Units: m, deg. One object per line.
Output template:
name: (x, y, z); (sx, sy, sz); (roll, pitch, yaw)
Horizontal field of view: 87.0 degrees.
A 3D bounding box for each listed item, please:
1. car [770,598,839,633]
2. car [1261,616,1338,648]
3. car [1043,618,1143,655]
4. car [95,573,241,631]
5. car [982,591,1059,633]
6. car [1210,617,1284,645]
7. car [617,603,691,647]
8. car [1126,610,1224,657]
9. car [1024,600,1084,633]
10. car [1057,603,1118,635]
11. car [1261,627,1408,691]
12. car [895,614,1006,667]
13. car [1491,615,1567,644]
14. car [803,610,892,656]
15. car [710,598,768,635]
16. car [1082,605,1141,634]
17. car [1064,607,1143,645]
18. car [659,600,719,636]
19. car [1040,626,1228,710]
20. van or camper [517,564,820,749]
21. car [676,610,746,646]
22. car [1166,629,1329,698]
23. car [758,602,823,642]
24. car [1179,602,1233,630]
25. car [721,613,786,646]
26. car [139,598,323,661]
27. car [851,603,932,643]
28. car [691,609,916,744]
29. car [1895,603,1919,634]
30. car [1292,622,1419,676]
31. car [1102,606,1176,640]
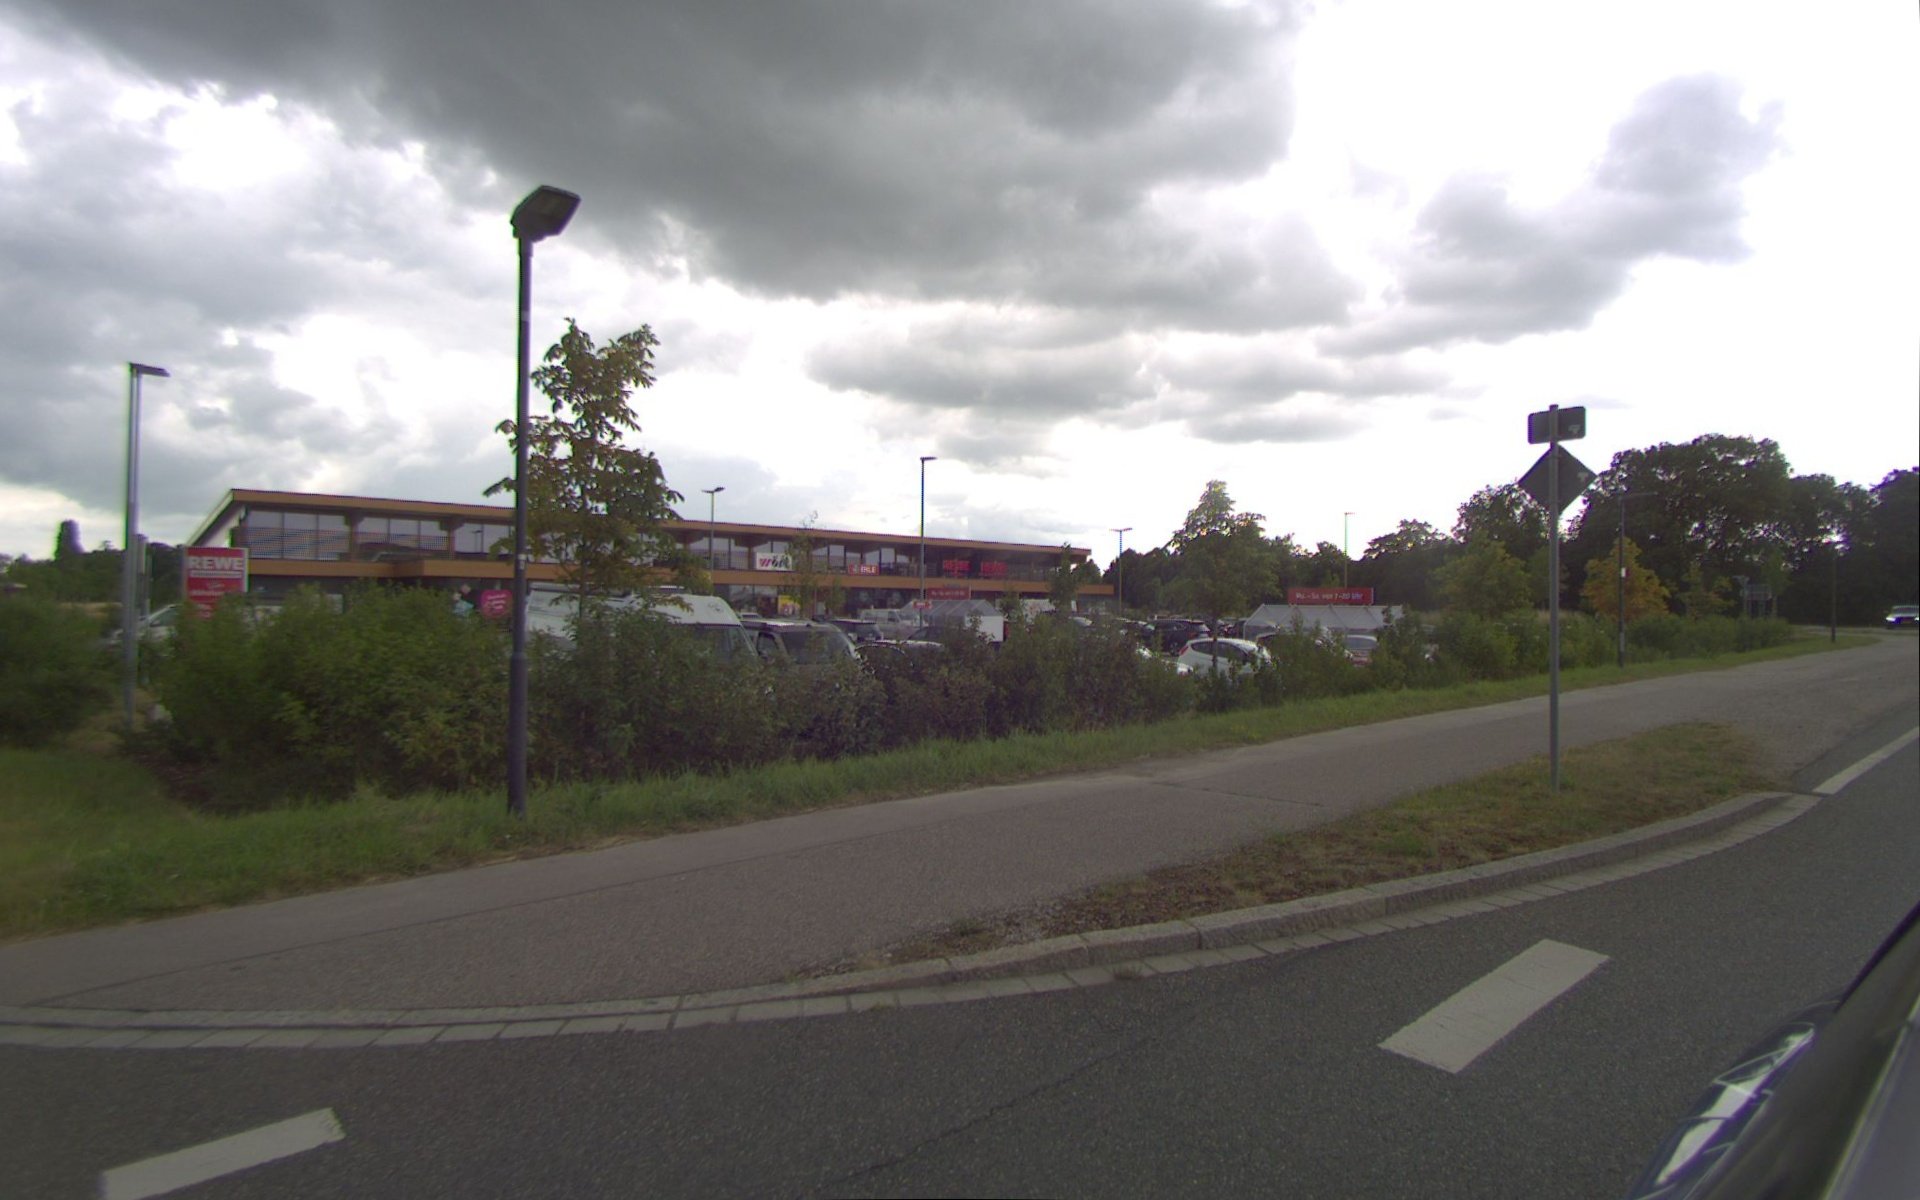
car: (-10.088, 0.980, 65.475); (1.965, 2.039, 5.138); (1, 1, -41)
car: (18.457, 1.703, 55.077); (1.723, 1.552, 3.555); (1, 1, -41)
car: (5.715, 1.559, 43.794); (1.965, 1.460, 3.993); (1, -1, -41)
car: (-29.639, 0.069, 37.968); (4.210, 2.039, 1.998); (1, 1, -40)
car: (3.187, 0.590, 53.598); (1.962, 2.039, 4.000); (1, 1, -36)
car: (18.026, 1.939, 63.653); (1.962, 1.504, 4.132); (1, 1, -36)
car: (-14.958, 1.182, 49.357); (2.004, 1.935, 3.899); (1, 1, -42)
car: (9.991, 1.528, 47.298); (1.962, 1.894, 4.274); (1, 1, -36)
car: (6.410, 1.100, 69.295); (1.962, 2.039, 4.000); (1, 1, -36)
car: (8.866, 1.318, 70.572); (2.032, 2.039, 4.000); (1, 1, -36)
car: (11.082, 1.701, 30.100); (1.647, 1.557, 3.762); (1, 1, -42)
car: (-0.403, 1.429, 37.247); (1.964, 1.638, 3.996); (1, 1, -40)
car: (36.577, 1.891, 65.090); (4.154, 1.738, 1.705); (1, 1, -13)
car: (-4.700, 1.322, 41.875); (1.962, 1.638, 4.000); (1, 1, -36)
car: (-13.431, 0.965, 61.288); (1.962, 2.039, 4.000); (1, 1, -36)
car: (11.023, 1.379, 73.766); (2.032, 1.871, 4.000); (1, 1, -36)
car: (8.044, 1.422, 57.138); (1.962, 1.894, 4.274); (1, 1, -36)
car: (-15.148, 0.972, 56.486); (1.908, 1.771, 4.000); (1, 1, -36)
car: (4.164, 1.560, 24.666); (2.045, 1.618, 4.153); (1, 1, -42)
van or camper: (-5.139, 0.691, 16.982); (2.242, 2.495, 6.476); (1, 1, -42)
car: (-12.743, 1.387, 51.618); (2.003, 1.627, 3.746); (1, 1, -40)
car: (8.002, 1.713, 28.476); (1.647, 1.557, 4.153); (1, 1, -42)
car: (-9.395, 1.181, 55.967); (1.962, 2.039, 4.000); (1, 1, -36)
car: (19.673, 1.286, 81.071); (1.961, 2.039, 4.004); (1, 1, -32)
car: (-10.901, 1.518, 53.339); (1.761, 1.496, 3.746); (1, 1, -40)
car: (-25.708, 0.991, 35.812); (5.140, 2.039, 1.998); (1, 1, -40)
car: (-4.033, 1.277, 59.058); (1.965, 2.039, 5.138); (1, 1, -41)
car: (-3.062, 1.275, 19.003); (1.966, 2.039, 4.600); (1, 1, -42)
car: (59.650, 1.163, 63.026); (1.993, 1.860, 3.939); (2, 1, 42)
car: (13.787, 1.662, 35.415); (1.647, 1.557, 3.762); (1, 1, -42)
car: (11.011, 1.388, 62.518); (1.962, 1.894, 4.274); (1, 1, -36)
